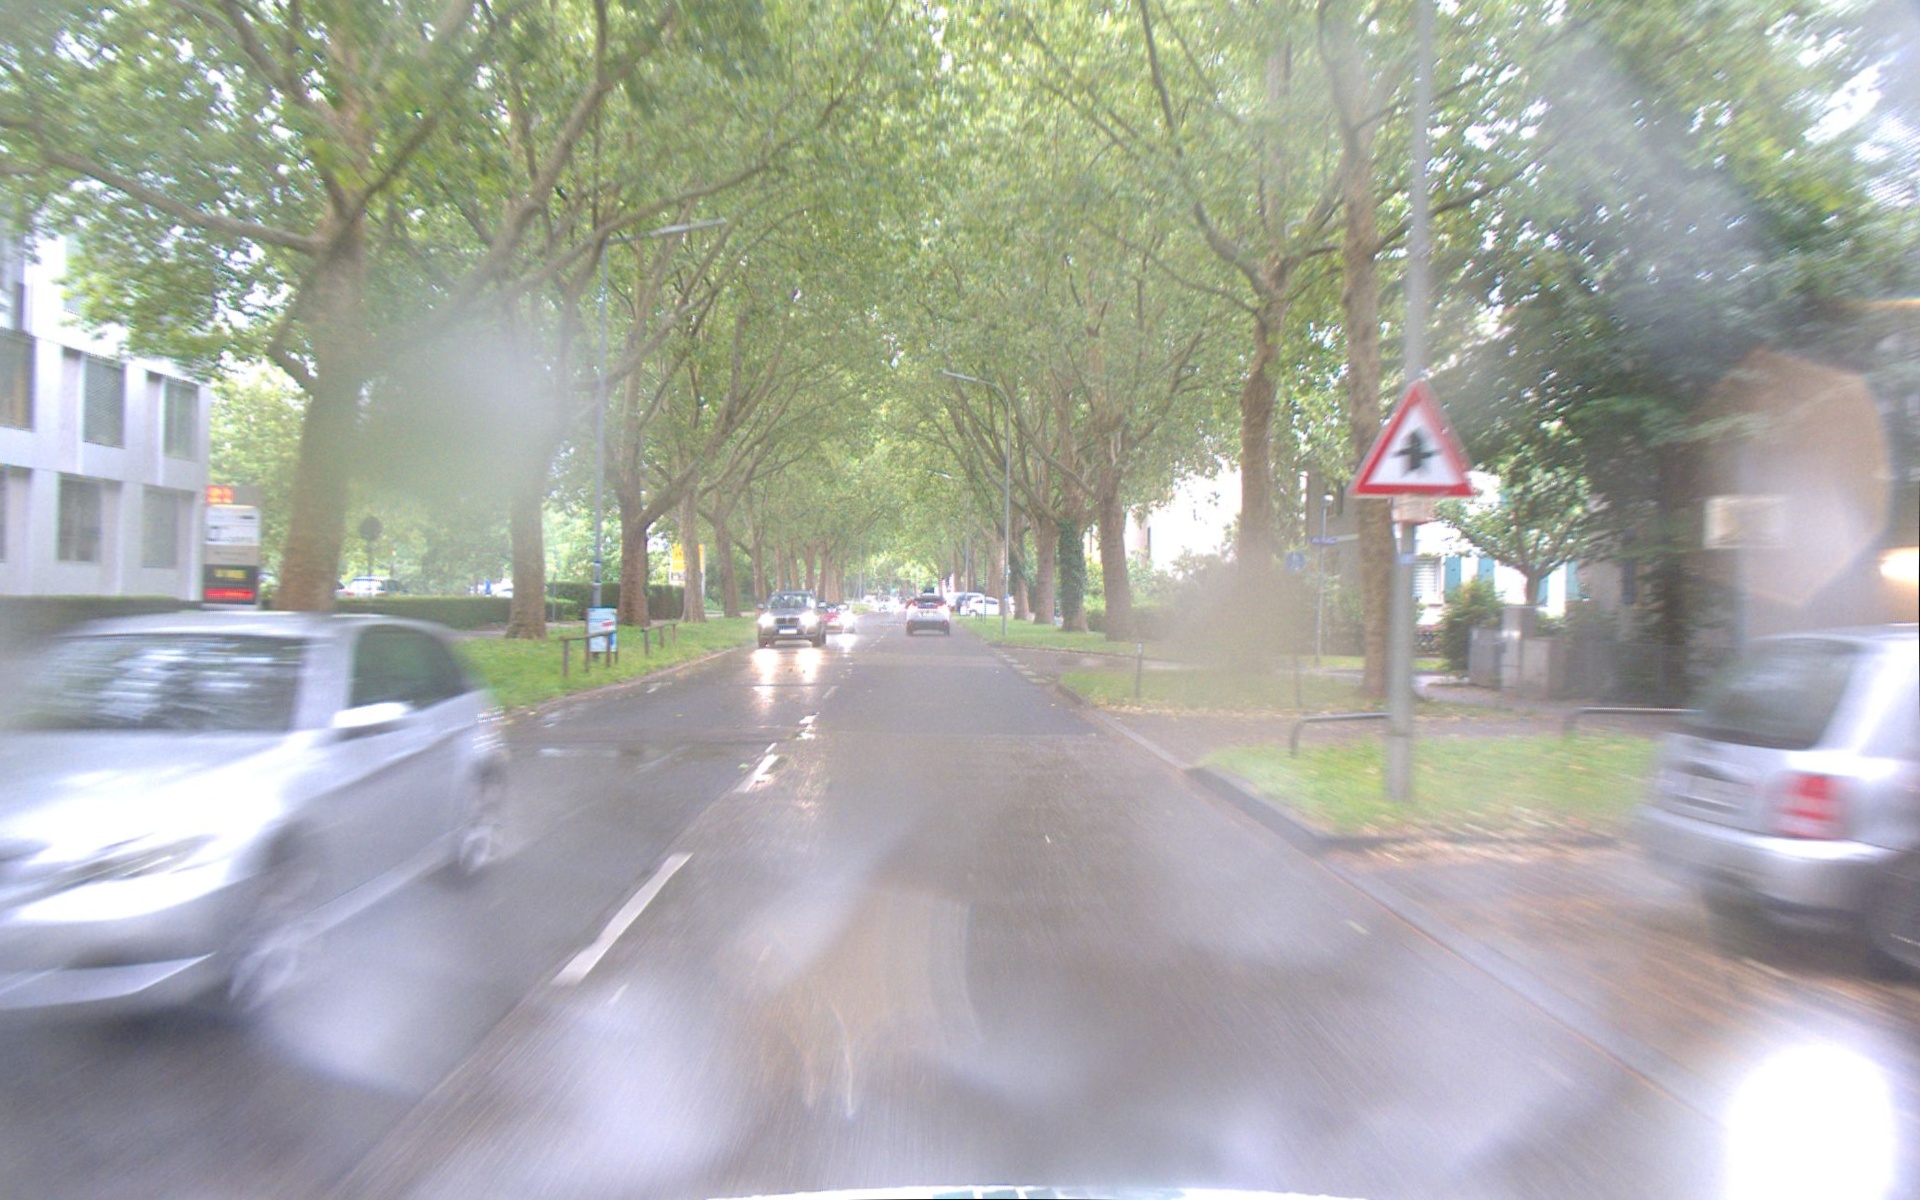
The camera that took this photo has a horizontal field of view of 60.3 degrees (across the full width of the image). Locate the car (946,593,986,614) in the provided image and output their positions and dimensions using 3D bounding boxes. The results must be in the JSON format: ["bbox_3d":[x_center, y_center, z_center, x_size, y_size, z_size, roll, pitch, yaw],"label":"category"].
[{"bbox_3d":[0.528,0.300,146.527,3.476,1.873,1.710,-1,0,-3],"label":"car"}]

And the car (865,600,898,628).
[{"bbox_3d":[-4.183,0.728,88.903,1.671,1.436,3.643,-1,0,-1],"label":"car"}]

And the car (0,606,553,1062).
[{"bbox_3d":[-3.228,0.765,7.592,1.644,1.413,4.548,0,0,-1],"label":"car"}]

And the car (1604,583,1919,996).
[{"bbox_3d":[5.134,0.758,7.324,3.906,1.606,1.679,1,0,-1],"label":"car"}]

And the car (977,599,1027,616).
[{"bbox_3d":[3.011,0.553,118.745,3.477,1.175,1.710,-1,0,-4],"label":"car"}]

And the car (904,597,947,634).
[{"bbox_3d":[-1.378,0.609,66.613,1.671,1.436,3.643,-1,0,-1],"label":"car"}]

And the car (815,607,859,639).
[{"bbox_3d":[-5.184,0.953,69.907,1.671,1.272,3.643,-1,0,-1],"label":"car"}]

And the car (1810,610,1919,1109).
[{"bbox_3d":[4.794,0.798,4.698,3.906,1.463,1.679,1,0,-1],"label":"car"}]

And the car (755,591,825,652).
[{"bbox_3d":[-5.046,0.602,49.639,1.773,1.713,4.446,0,0,-2],"label":"car"}]

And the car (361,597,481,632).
[{"bbox_3d":[-20.672,0.561,63.523,3.907,1.154,1.999,2,0,-2],"label":"car"}]

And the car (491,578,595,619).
[{"bbox_3d":[-17.740,-0.061,70.448,3.906,1.651,2.000,1,0,-1],"label":"car"}]
